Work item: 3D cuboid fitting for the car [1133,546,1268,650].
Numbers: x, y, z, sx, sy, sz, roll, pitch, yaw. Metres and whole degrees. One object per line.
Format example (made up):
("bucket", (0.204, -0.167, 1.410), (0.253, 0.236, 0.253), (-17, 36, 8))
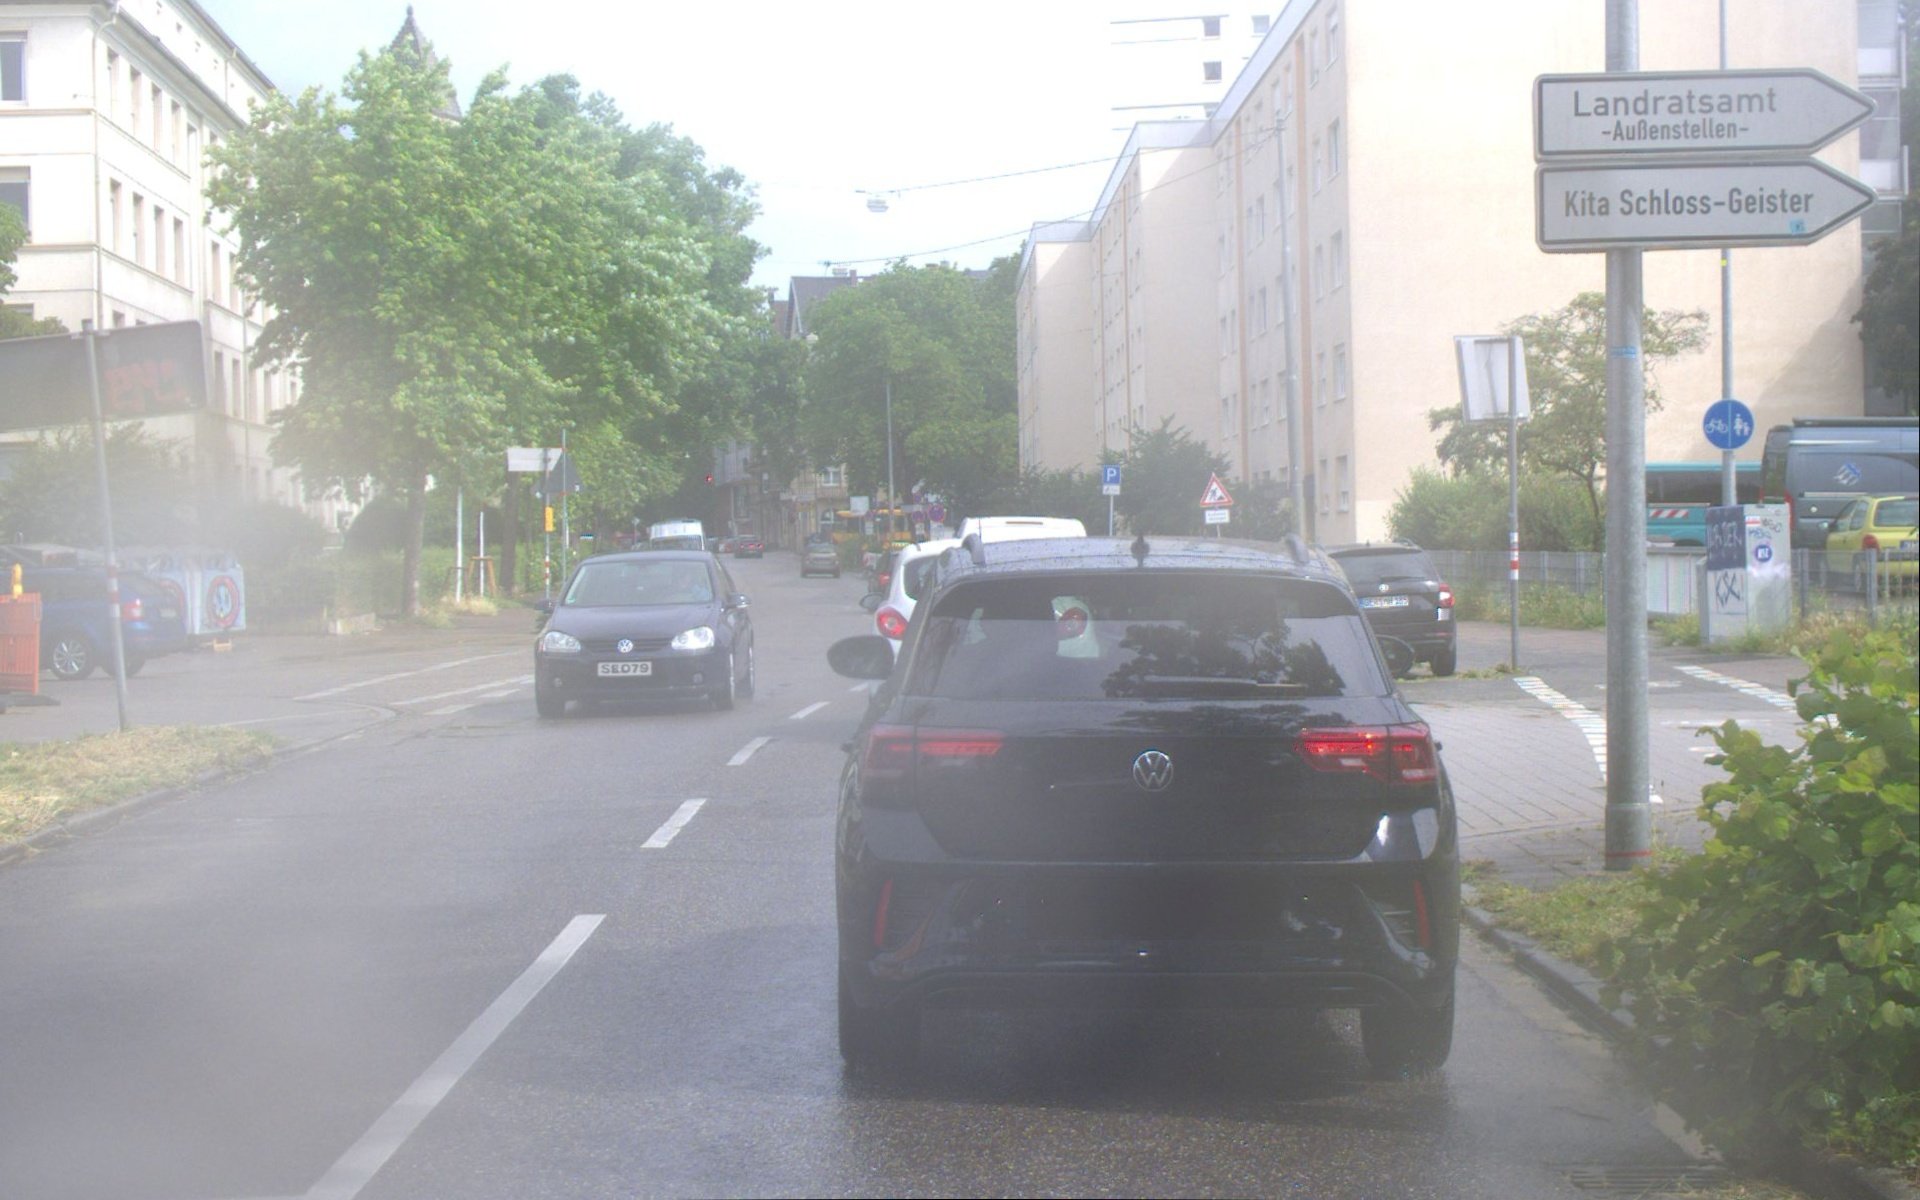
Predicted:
("car", (3.778, -0.056, 54.636), (1.604, 1.503, 4.160), (-3, 1, -2))

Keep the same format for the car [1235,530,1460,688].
("car", (4.189, 0.053, 37.780), (1.774, 1.534, 4.378), (-3, 1, -2))

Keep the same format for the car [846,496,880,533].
("car", (-5.100, -4.470, 180.099), (1.665, 1.831, 4.001), (-2, 1, -2))

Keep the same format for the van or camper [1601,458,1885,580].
("van or camper", (14.381, -1.499, 63.353), (4.760, 2.124, 2.321), (-1, 1, 4))

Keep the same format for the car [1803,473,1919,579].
("car", (13.311, -1.071, 49.488), (1.611, 1.444, 3.417), (-2, 1, 3))

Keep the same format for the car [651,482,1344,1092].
("car", (0.088, 0.500, 11.415), (1.873, 1.640, 4.062), (1, 0, 0))

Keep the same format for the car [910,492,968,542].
("car", (-0.714, -2.831, 117.445), (1.841, 1.602, 3.675), (-3, 1, 1))

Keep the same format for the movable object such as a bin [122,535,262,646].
("movable object such as a bin", (-11.994, -0.159, 53.740), (1.539, 1.656, 1.457), (-1, 2, 19))

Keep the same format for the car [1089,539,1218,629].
("car", (3.364, -0.254, 60.556), (1.748, 1.503, 4.112), (-1, -1, -4))

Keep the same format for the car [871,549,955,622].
("car", (-1.057, -0.337, 75.648), (1.604, 1.505, 3.548), (-2, 1, -4))

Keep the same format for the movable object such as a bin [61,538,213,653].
("movable object such as a bin", (-12.493, -0.078, 52.226), (1.539, 1.668, 1.664), (-1, 2, 19))

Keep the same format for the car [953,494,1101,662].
("car", (0.899, -0.285, 45.409), (1.836, 2.095, 4.000), (1, 0, 2))

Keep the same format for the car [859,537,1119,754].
("car", (0.198, 0.316, 26.232), (1.813, 1.498, 4.000), (1, 0, 0))

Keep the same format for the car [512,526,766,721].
("car", (-2.880, 0.171, 31.672), (1.841, 1.602, 4.000), (-3, 1, 1))

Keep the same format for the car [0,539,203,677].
("car", (-12.334, 0.140, 44.674), (4.434, 1.579, 1.821), (-2, 3, 9))

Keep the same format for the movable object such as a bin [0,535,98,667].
("movable object such as a bin", (-13.370, 0.013, 49.126), (1.539, 1.818, 1.262), (-1, 2, 19))

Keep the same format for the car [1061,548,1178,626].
("car", (3.038, -0.268, 66.261), (1.716, 1.447, 4.260), (0, 1, -5))

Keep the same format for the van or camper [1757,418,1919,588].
("van or camper", (15.059, -1.492, 53.070), (4.998, 2.546, 2.175), (-1, 0, 1))

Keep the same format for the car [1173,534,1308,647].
("car", (3.997, -0.115, 49.522), (1.757, 1.522, 3.999), (1, -1, 2))

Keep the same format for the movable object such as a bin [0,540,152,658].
("movable object such as a bin", (-13.023, -0.018, 50.666), (1.539, 1.650, 1.526), (-1, 2, 19))
